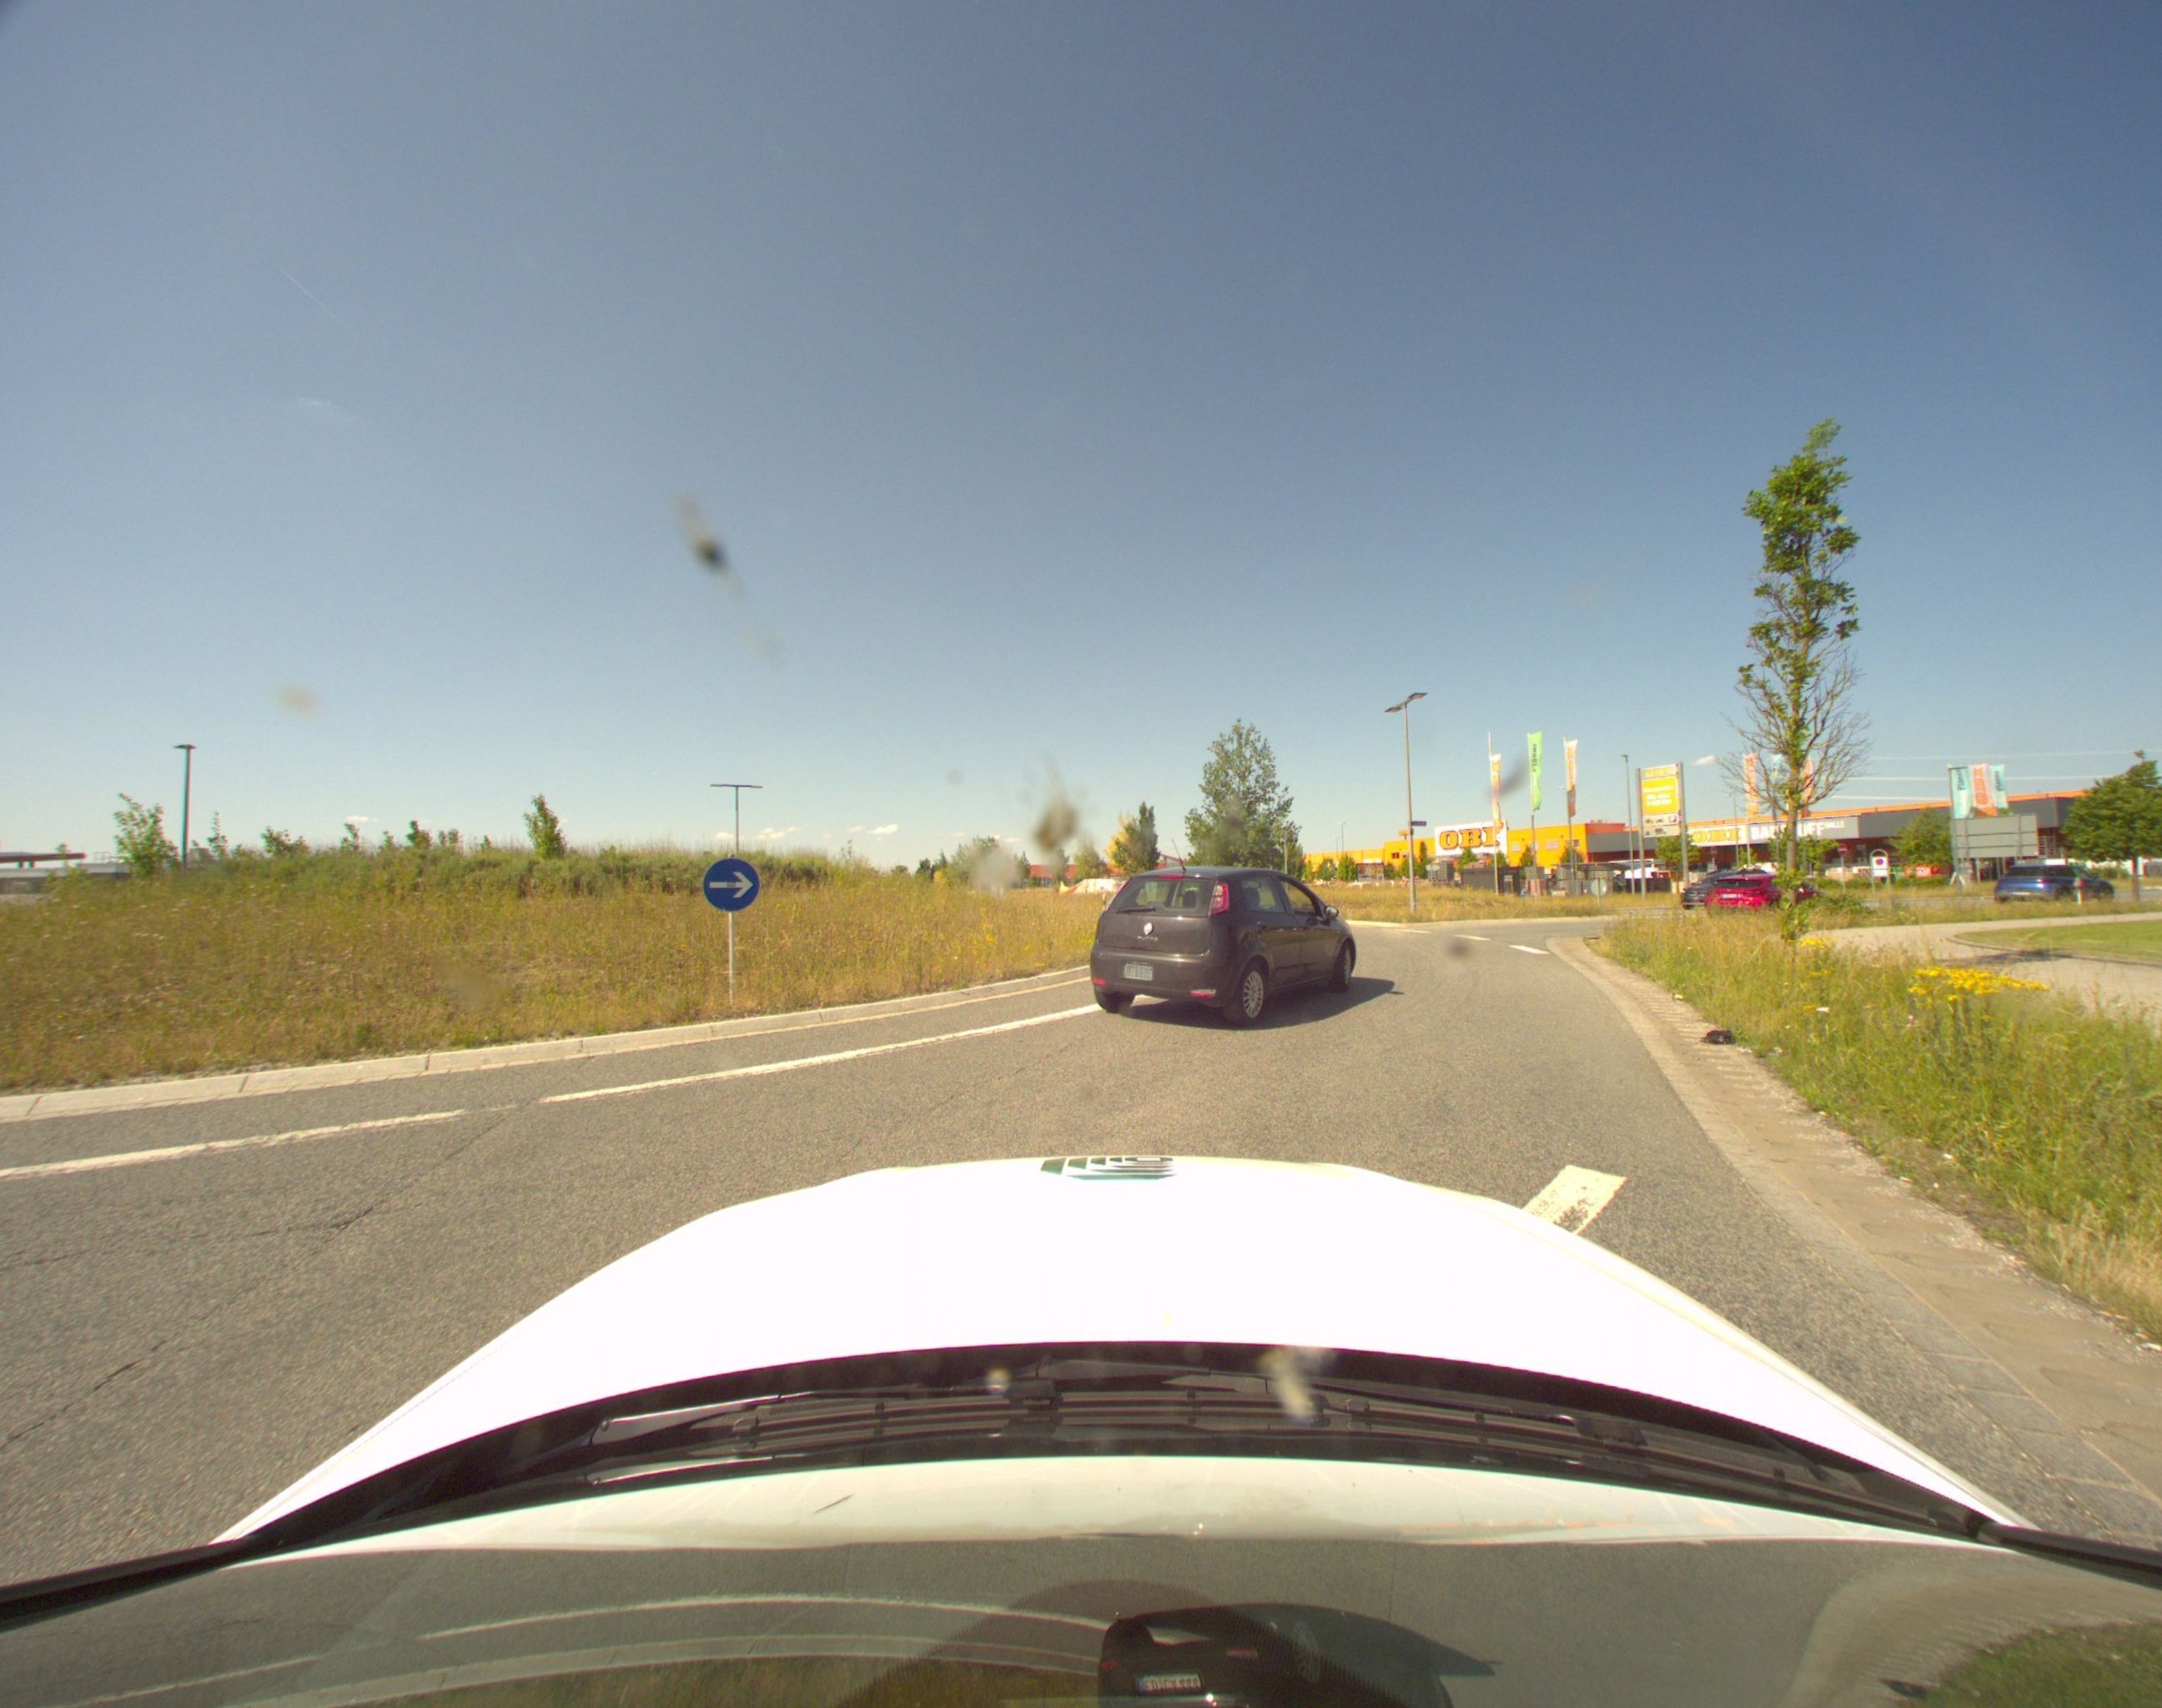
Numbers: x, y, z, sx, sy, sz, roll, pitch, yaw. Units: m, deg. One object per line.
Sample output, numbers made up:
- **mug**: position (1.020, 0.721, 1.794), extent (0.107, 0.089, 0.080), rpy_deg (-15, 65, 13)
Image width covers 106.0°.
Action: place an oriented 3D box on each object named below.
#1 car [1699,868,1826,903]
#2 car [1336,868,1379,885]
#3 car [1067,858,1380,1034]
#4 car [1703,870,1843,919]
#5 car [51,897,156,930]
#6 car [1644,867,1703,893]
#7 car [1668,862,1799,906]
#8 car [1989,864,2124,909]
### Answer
- **car**: position (35.070, 1.654, 42.092), extent (2.073, 1.627, 4.676), rpy_deg (-1, -4, -12)
- **car**: position (29.355, 2.401, 86.486), extent (2.006, 1.618, 3.960), rpy_deg (0, -3, -31)
- **car**: position (1.747, 0.824, 8.949), extent (1.624, 1.488, 3.928), rpy_deg (-2, -2, 40)
- **car**: position (22.246, 1.247, 26.178), extent (4.123, 1.416, 1.794), rpy_deg (0, -2, -24)
- **car**: position (-65.294, 3.950, 54.550), extent (1.999, 2.014, 5.104), rpy_deg (-1, -3, -18)
- **car**: position (43.291, 1.910, 59.524), extent (3.775, 1.841, 1.688), rpy_deg (1, -3, -21)
- **car**: position (27.516, 1.260, 34.365), extent (4.622, 1.706, 1.946), rpy_deg (-1, -4, -16)
- **car**: position (38.008, 1.244, 31.755), extent (4.075, 1.635, 1.847), rpy_deg (0, -2, -16)
